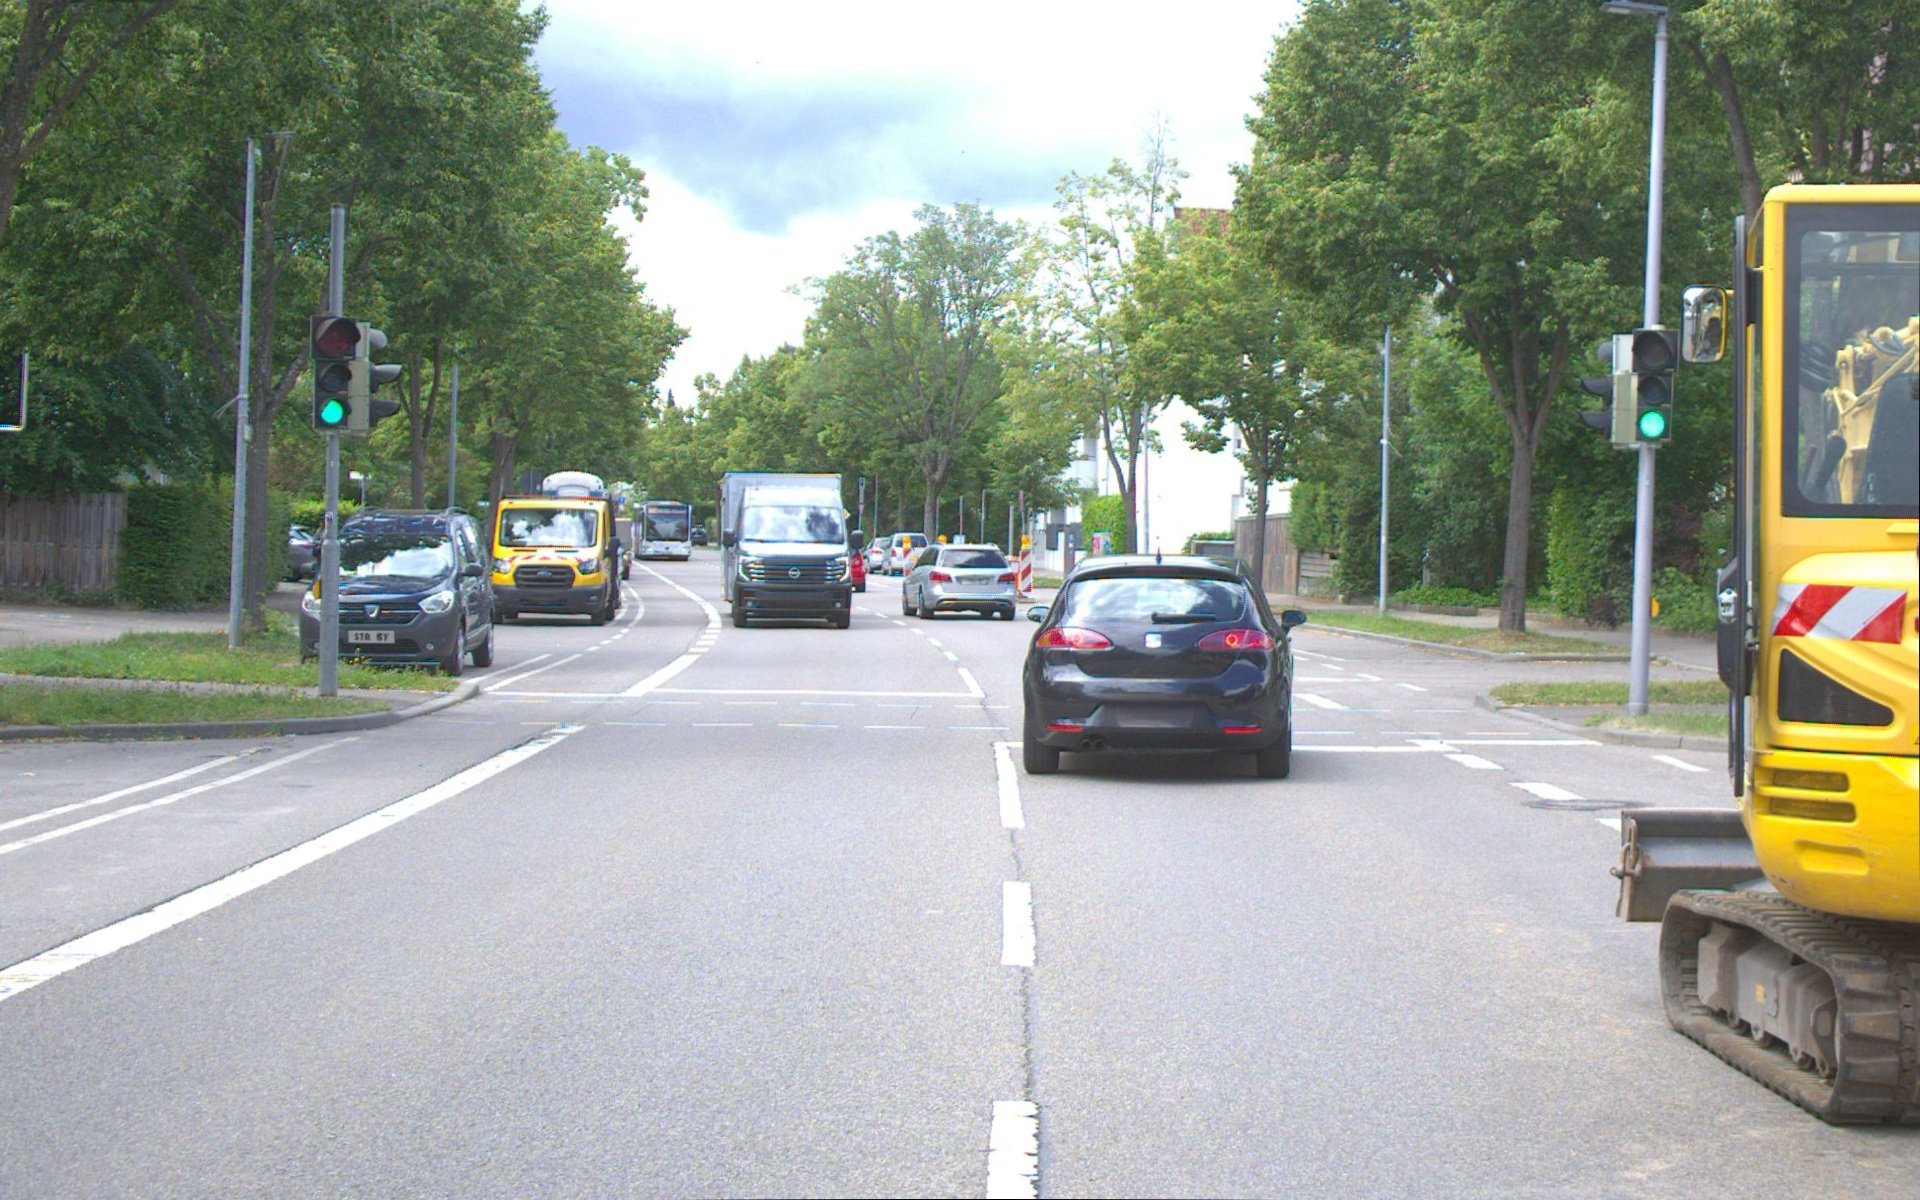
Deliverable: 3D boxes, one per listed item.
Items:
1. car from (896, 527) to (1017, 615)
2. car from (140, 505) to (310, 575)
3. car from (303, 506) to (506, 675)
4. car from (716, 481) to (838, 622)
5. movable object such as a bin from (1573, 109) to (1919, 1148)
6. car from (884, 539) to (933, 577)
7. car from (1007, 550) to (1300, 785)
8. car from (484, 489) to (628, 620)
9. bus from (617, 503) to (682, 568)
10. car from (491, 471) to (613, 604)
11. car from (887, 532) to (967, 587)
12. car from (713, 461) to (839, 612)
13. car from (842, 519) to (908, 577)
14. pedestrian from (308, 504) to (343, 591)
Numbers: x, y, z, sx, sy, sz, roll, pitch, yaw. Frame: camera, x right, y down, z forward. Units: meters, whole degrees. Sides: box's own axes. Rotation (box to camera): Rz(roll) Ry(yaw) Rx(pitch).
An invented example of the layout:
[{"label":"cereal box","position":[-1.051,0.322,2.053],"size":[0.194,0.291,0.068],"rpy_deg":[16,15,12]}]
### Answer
[{"label":"car","position":[-0.105,-0.588,67.467],"size":[1.905,1.680,3.741],"rpy_deg":[0,1,-7]},{"label":"car","position":[-17.329,-1.415,81.182],"size":[3.682,1.588,1.679],"rpy_deg":[1,1,-2]},{"label":"car","position":[-6.125,-0.146,38.308],"size":[1.667,1.766,4.468],"rpy_deg":[0,1,-2]},{"label":"car","position":[-3.176,-0.872,60.565],"size":[2.028,2.376,5.262],"rpy_deg":[0,1,-2]},{"label":"movable object such as a bin","position":[2.978,0.050,10.334],"size":[1.768,2.565,3.739],"rpy_deg":[1,1,4]},{"label":"car","position":[-1.995,-1.639,133.956],"size":[1.810,1.410,3.693],"rpy_deg":[1,1,0]},{"label":"car","position":[1.324,0.393,23.320],"size":[1.819,1.433,3.739],"rpy_deg":[0,1,4]},{"label":"car","position":[-7.004,-0.812,60.059],"size":[2.092,2.167,5.045],"rpy_deg":[1,1,-2]},{"label":"bus","position":[-10.587,-2.200,117.730],"size":[1.993,2.116,7.360],"rpy_deg":[1,1,-4]},{"label":"car","position":[-8.358,-1.297,70.847],"size":[2.092,2.617,5.045],"rpy_deg":[1,1,-2]},{"label":"car","position":[-0.906,-1.109,92.402],"size":[1.809,1.410,3.694],"rpy_deg":[1,1,-6]},{"label":"car","position":[-3.510,-1.240,66.728],"size":[2.287,2.782,7.144],"rpy_deg":[0,1,-2]},{"label":"car","position":[-2.463,-1.505,98.592],"size":[1.790,1.617,3.740],"rpy_deg":[0,1,-3]},{"label":"pedestrian","position":[-12.764,-1.054,69.193],"size":[0.595,1.735,0.574],"rpy_deg":[1,1,-3]}]
